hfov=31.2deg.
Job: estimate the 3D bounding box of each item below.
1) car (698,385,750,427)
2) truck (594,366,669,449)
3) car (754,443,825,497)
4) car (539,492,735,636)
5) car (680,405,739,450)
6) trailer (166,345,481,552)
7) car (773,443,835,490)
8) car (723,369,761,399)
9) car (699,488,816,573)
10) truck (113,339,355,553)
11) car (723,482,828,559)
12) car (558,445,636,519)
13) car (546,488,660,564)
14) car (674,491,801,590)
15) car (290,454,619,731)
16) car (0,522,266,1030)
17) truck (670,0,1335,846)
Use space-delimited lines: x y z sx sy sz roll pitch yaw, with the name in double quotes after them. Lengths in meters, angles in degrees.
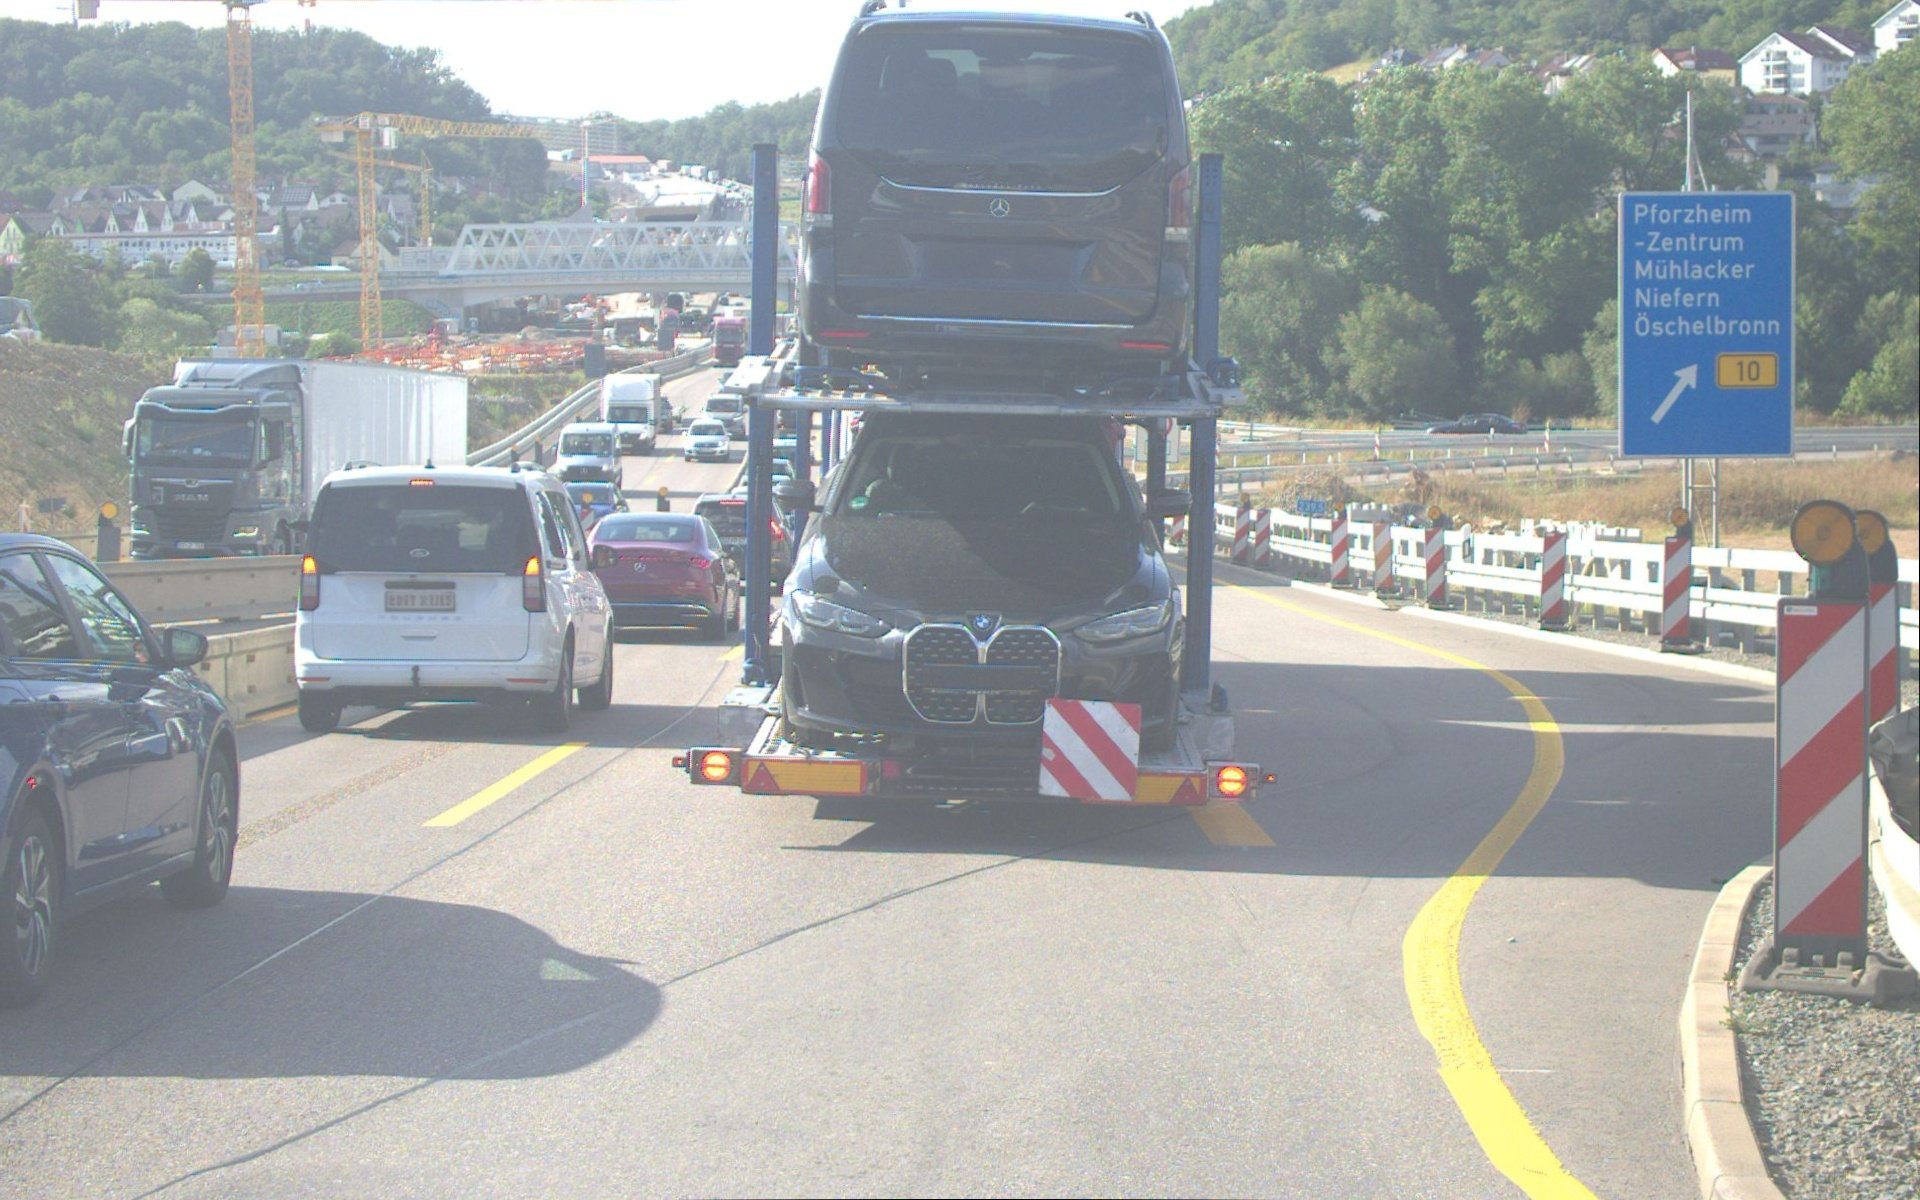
-11.144 -9.210 162.743 2.125 1.759 5.032 2 5 -1 "car"
-14.360 -8.380 150.660 2.700 3.300 7.538 1 1 -1 "truck"
-5.271 -4.014 106.574 1.993 1.546 4.000 1 1 0 "car"
-3.705 -0.436 40.133 1.993 1.551 4.401 1 1 -2 "car"
-10.469 -7.237 143.818 2.125 1.668 4.274 2 5 -1 "car"
-12.853 -2.940 71.140 2.821 3.828 13.802 1 1 5 "trailer"
-5.496 -4.697 121.370 1.993 1.546 4.000 1 1 0 "car"
-12.461 -12.399 196.930 1.852 1.629 4.750 2 4 -1 "car"
-3.827 -1.324 65.525 1.993 1.546 4.000 1 1 0 "car"
-13.470 -2.794 64.254 2.777 3.775 6.017 1 1 5 "truck"
-3.866 -1.667 72.572 1.993 1.546 4.000 1 1 0 "car"
-12.376 -4.002 117.602 2.258 2.394 5.868 1 1 -2 "car"
-8.449 -1.747 81.685 1.994 1.720 4.122 1 1 4 "car"
-3.720 -0.987 56.857 1.993 1.546 4.001 1 1 -5 "car"
-3.505 -0.081 24.504 1.823 1.786 4.000 1 1 -1 "car"
-3.575 0.461 11.353 1.722 1.417 4.000 1 2 0 "car"
0.212 -1.112 24.285 2.753 3.941 18.890 2 1 0 "truck"
